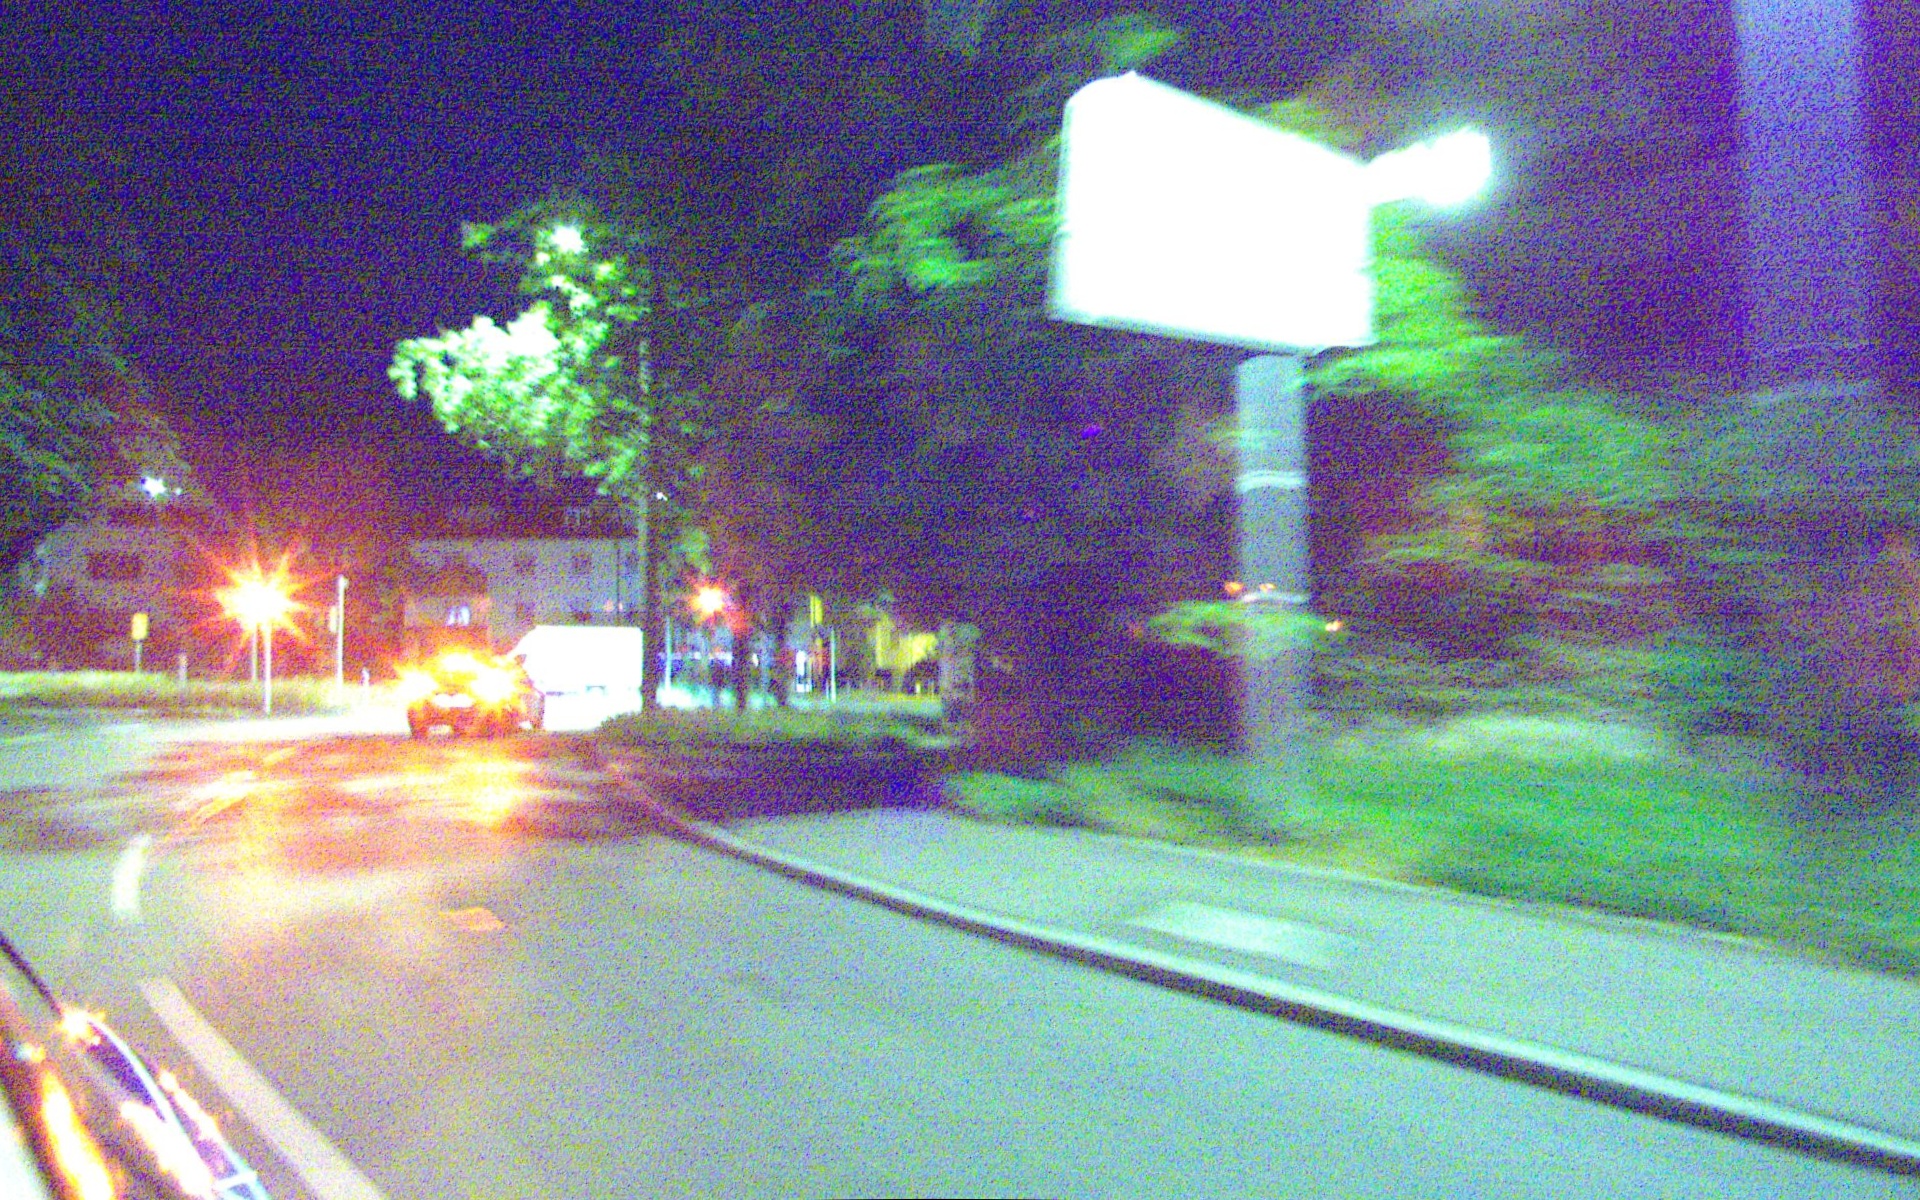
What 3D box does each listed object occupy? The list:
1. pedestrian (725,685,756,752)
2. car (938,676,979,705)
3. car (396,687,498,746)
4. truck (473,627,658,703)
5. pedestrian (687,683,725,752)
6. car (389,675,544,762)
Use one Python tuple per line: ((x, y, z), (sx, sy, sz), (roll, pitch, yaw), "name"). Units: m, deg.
((-6.083, 3.275, 28.059), (0.518, 1.806, 0.689), (0, -6, 14), "pedestrian")
((-0.049, 5.041, 56.592), (2.027, 1.567, 4.249), (0, -5, 4), "car")
((-14.098, 3.181, 27.988), (1.491, 1.513, 3.053), (1, -6, -6), "car")
((-17.056, 2.802, 44.143), (6.929, 3.067, 2.776), (2, -2, -4), "truck")
((-6.819, 3.152, 27.243), (0.718, 1.783, 0.965), (1, -6, 0), "pedestrian")
((-9.216, 2.256, 19.275), (1.702, 1.441, 4.300), (1, -7, -13), "car")
